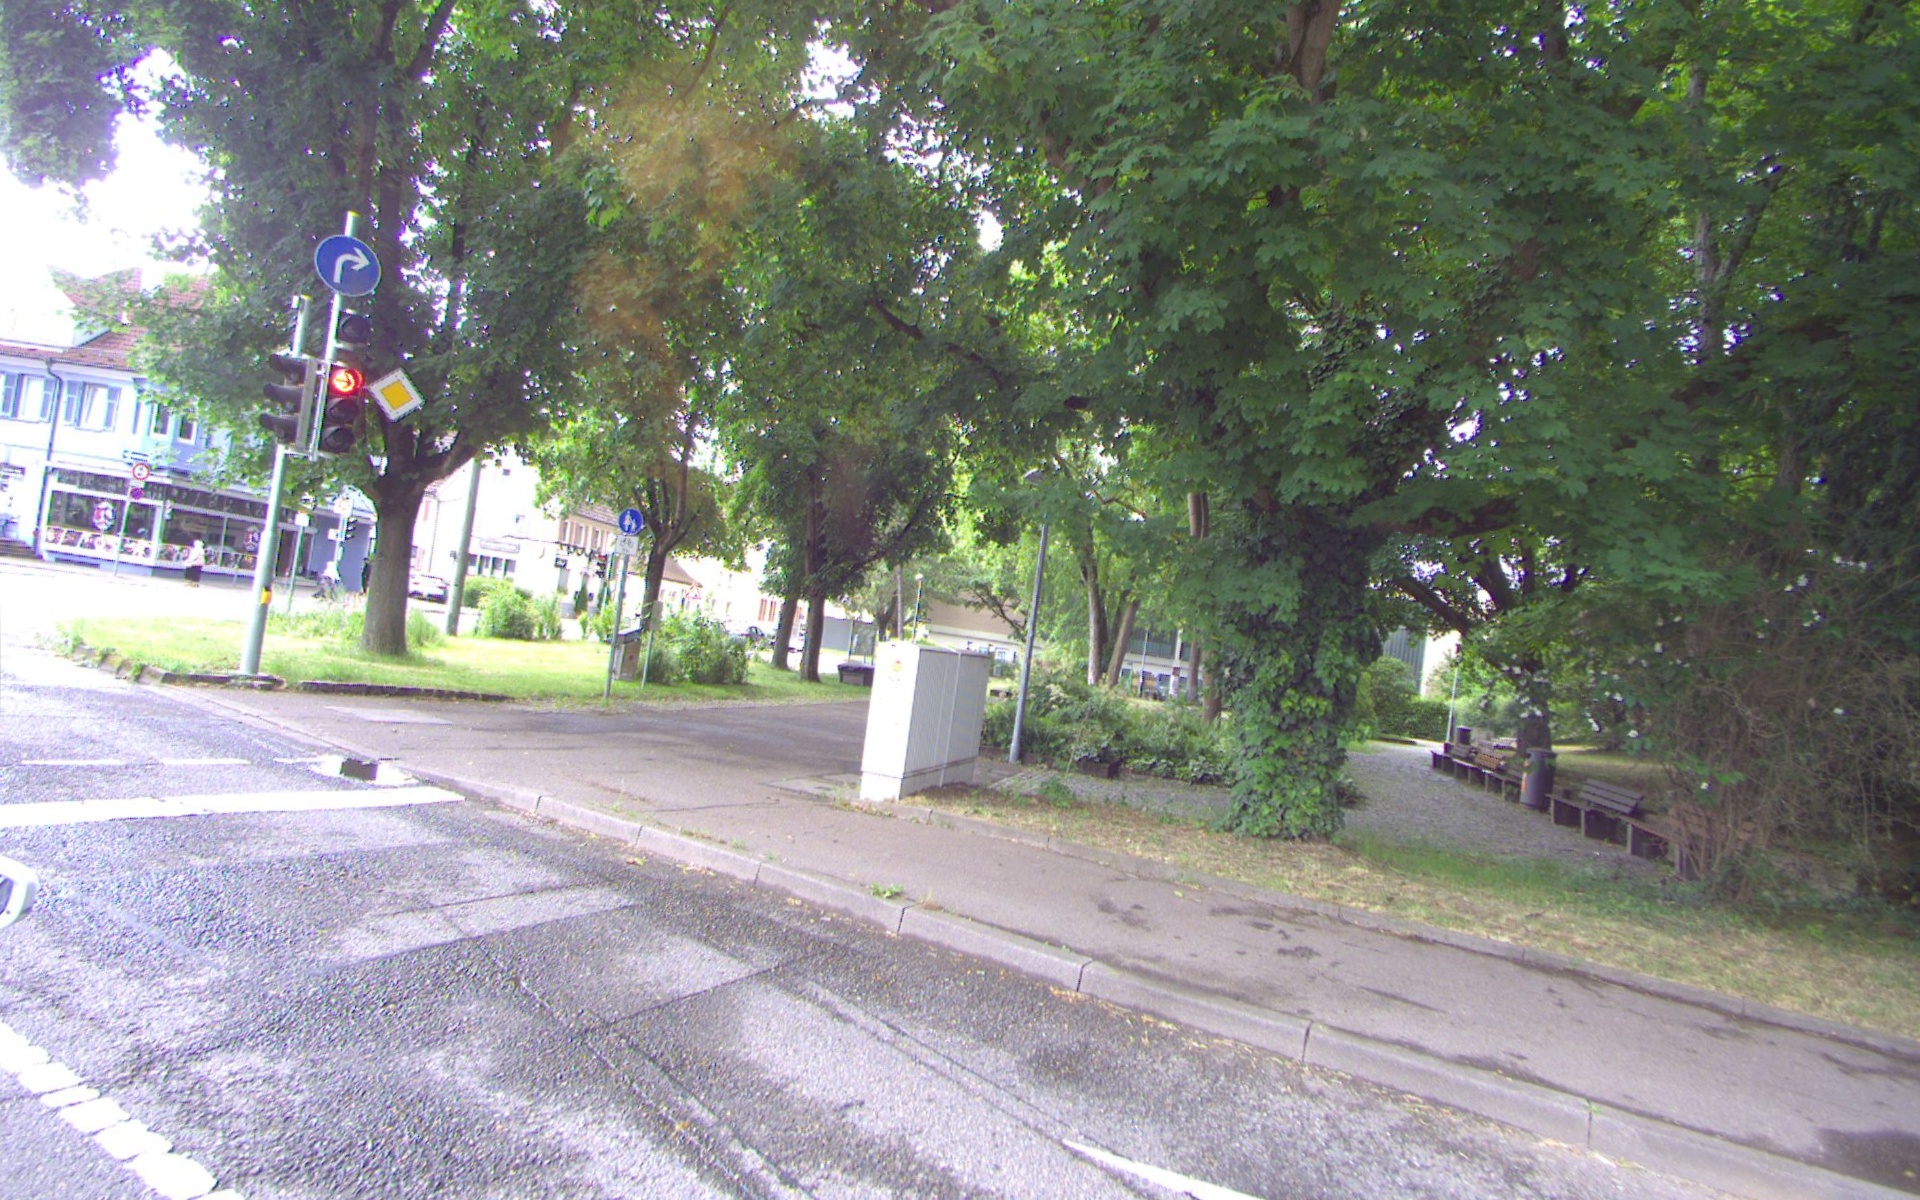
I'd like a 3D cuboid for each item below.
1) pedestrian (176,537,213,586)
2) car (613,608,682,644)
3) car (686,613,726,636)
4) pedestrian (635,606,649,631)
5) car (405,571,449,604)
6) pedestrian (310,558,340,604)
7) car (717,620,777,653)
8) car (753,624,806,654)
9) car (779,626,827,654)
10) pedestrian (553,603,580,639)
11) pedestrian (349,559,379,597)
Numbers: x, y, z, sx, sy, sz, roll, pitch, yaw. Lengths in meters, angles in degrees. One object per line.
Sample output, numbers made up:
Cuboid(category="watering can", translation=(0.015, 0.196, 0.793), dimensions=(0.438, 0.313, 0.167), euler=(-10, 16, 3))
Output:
Cuboid(category="pedestrian", translation=(-26.533, -1.334, 34.895), dimensions=(0.725, 1.578, 0.763), euler=(7, -1, -27))
Cuboid(category="car", translation=(-13.627, 1.147, 44.051), dimensions=(1.436, 1.282, 3.014), euler=(7, -2, 13))
Cuboid(category="car", translation=(-18.998, 1.874, 75.352), dimensions=(1.736, 1.463, 3.865), euler=(7, -2, 2))
Cuboid(category="pedestrian", translation=(-21.276, 1.245, 67.366), dimensions=(0.500, 1.578, 0.505), euler=(6, -1, 17))
Cuboid(category="car", translation=(-28.169, -0.694, 53.158), dimensions=(1.870, 1.406, 3.589), euler=(9, -2, -28))
Cuboid(category="pedestrian", translation=(-23.323, -0.695, 36.952), dimensions=(0.688, 1.578, 0.662), euler=(7, -1, -27))
Cuboid(category="car", translation=(-11.557, 2.011, 54.930), dimensions=(1.618, 1.474, 3.740), euler=(7, -2, 13))
Cuboid(category="car", translation=(-10.694, 2.334, 59.904), dimensions=(1.618, 1.474, 3.740), euler=(7, -2, 13))
Cuboid(category="car", translation=(-10.268, 2.651, 66.035), dimensions=(1.618, 1.474, 3.740), euler=(7, -2, 13))
Cuboid(category="pedestrian", translation=(-12.978, 0.696, 33.166), dimensions=(0.506, 1.093, 0.507), euler=(6, -1, 17))
Cuboid(category="pedestrian", translation=(-26.843, -0.989, 45.307), dimensions=(0.732, 1.578, 0.673), euler=(6, -1, 17))
